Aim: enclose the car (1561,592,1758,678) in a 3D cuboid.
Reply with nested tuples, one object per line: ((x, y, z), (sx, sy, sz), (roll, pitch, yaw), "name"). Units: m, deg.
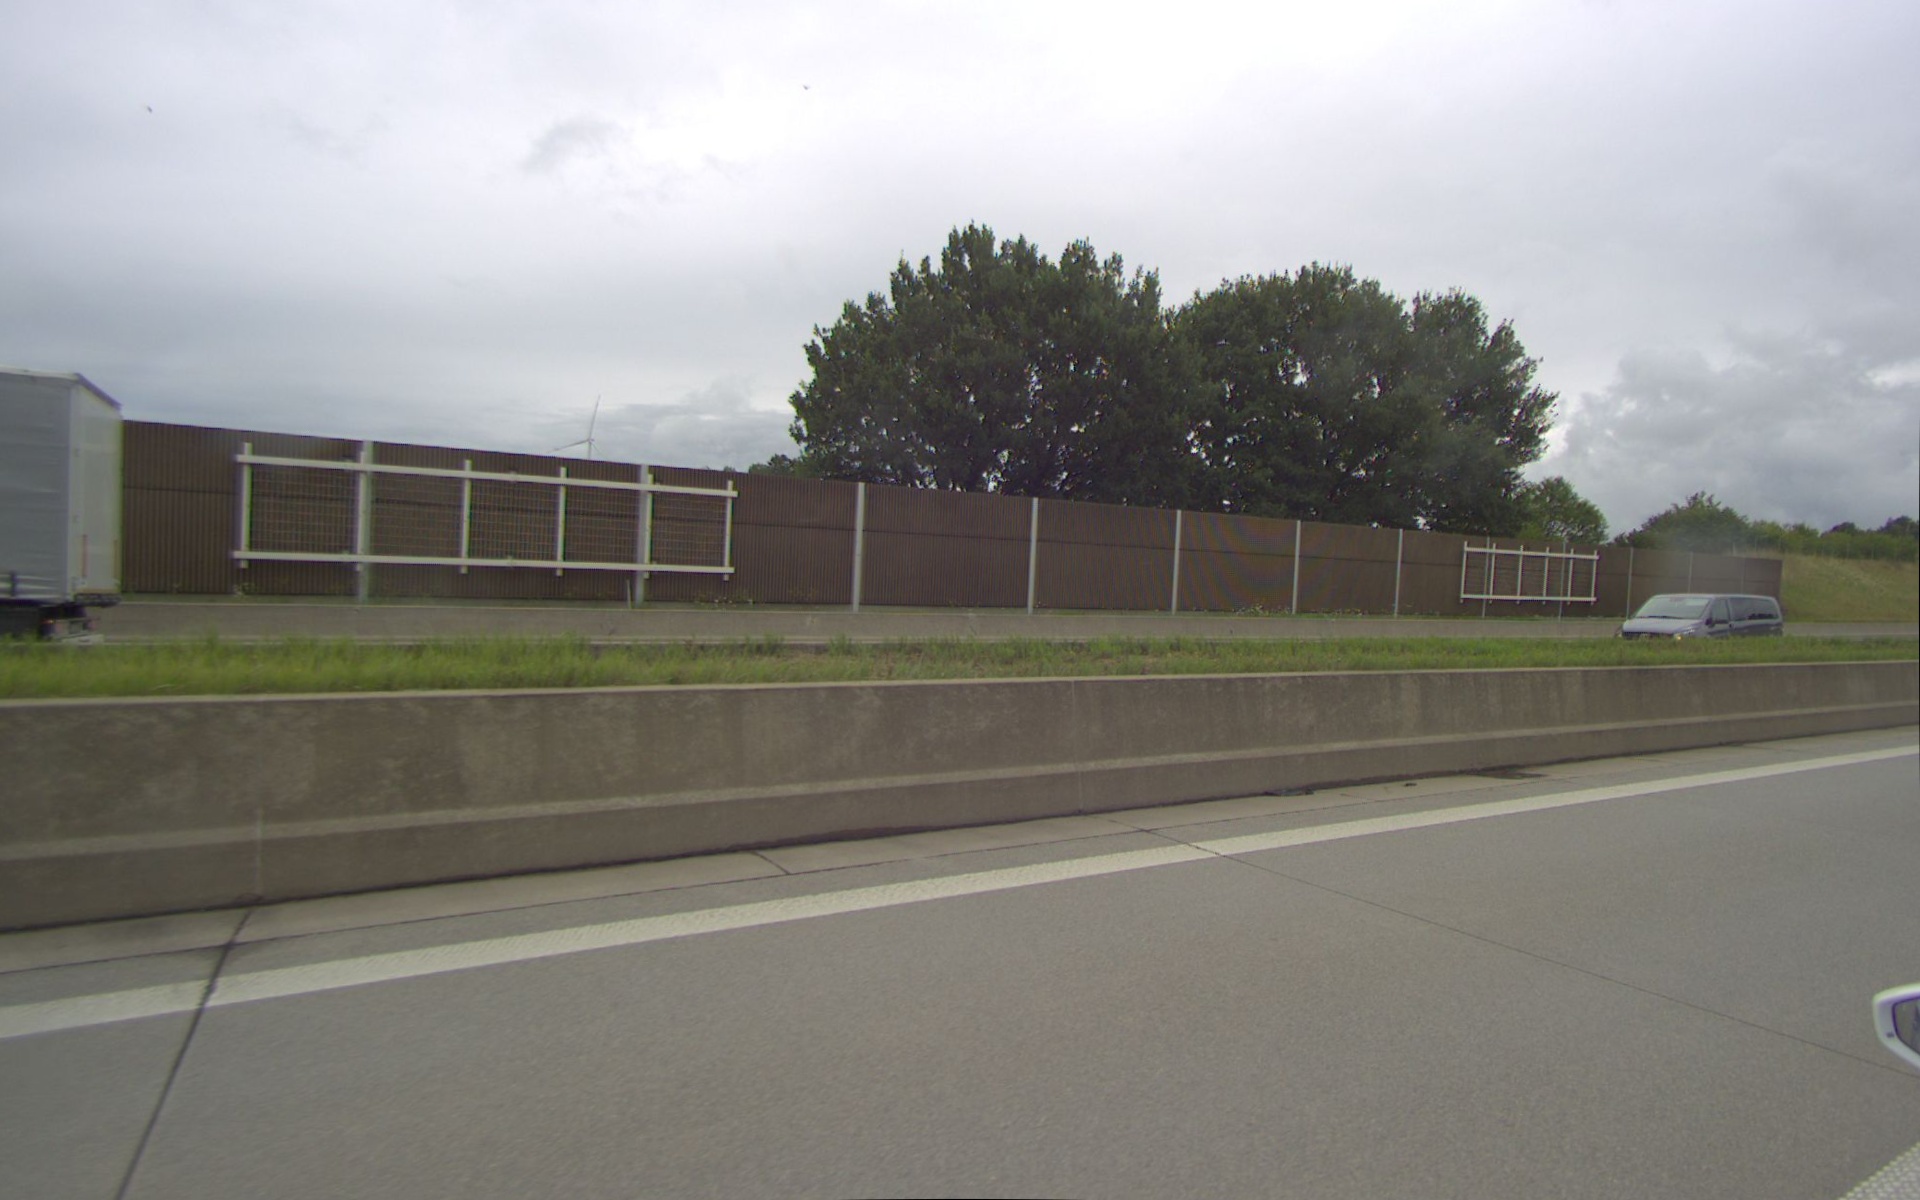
((17.417, 0.848, 24.939), (5.283, 1.945, 1.984), (1, 0, -31), "car")

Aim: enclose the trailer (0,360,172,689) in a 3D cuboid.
((-17.613, -1.128, 10.956), (13.844, 4.150, 2.683), (2, 0, -31), "trailer")
